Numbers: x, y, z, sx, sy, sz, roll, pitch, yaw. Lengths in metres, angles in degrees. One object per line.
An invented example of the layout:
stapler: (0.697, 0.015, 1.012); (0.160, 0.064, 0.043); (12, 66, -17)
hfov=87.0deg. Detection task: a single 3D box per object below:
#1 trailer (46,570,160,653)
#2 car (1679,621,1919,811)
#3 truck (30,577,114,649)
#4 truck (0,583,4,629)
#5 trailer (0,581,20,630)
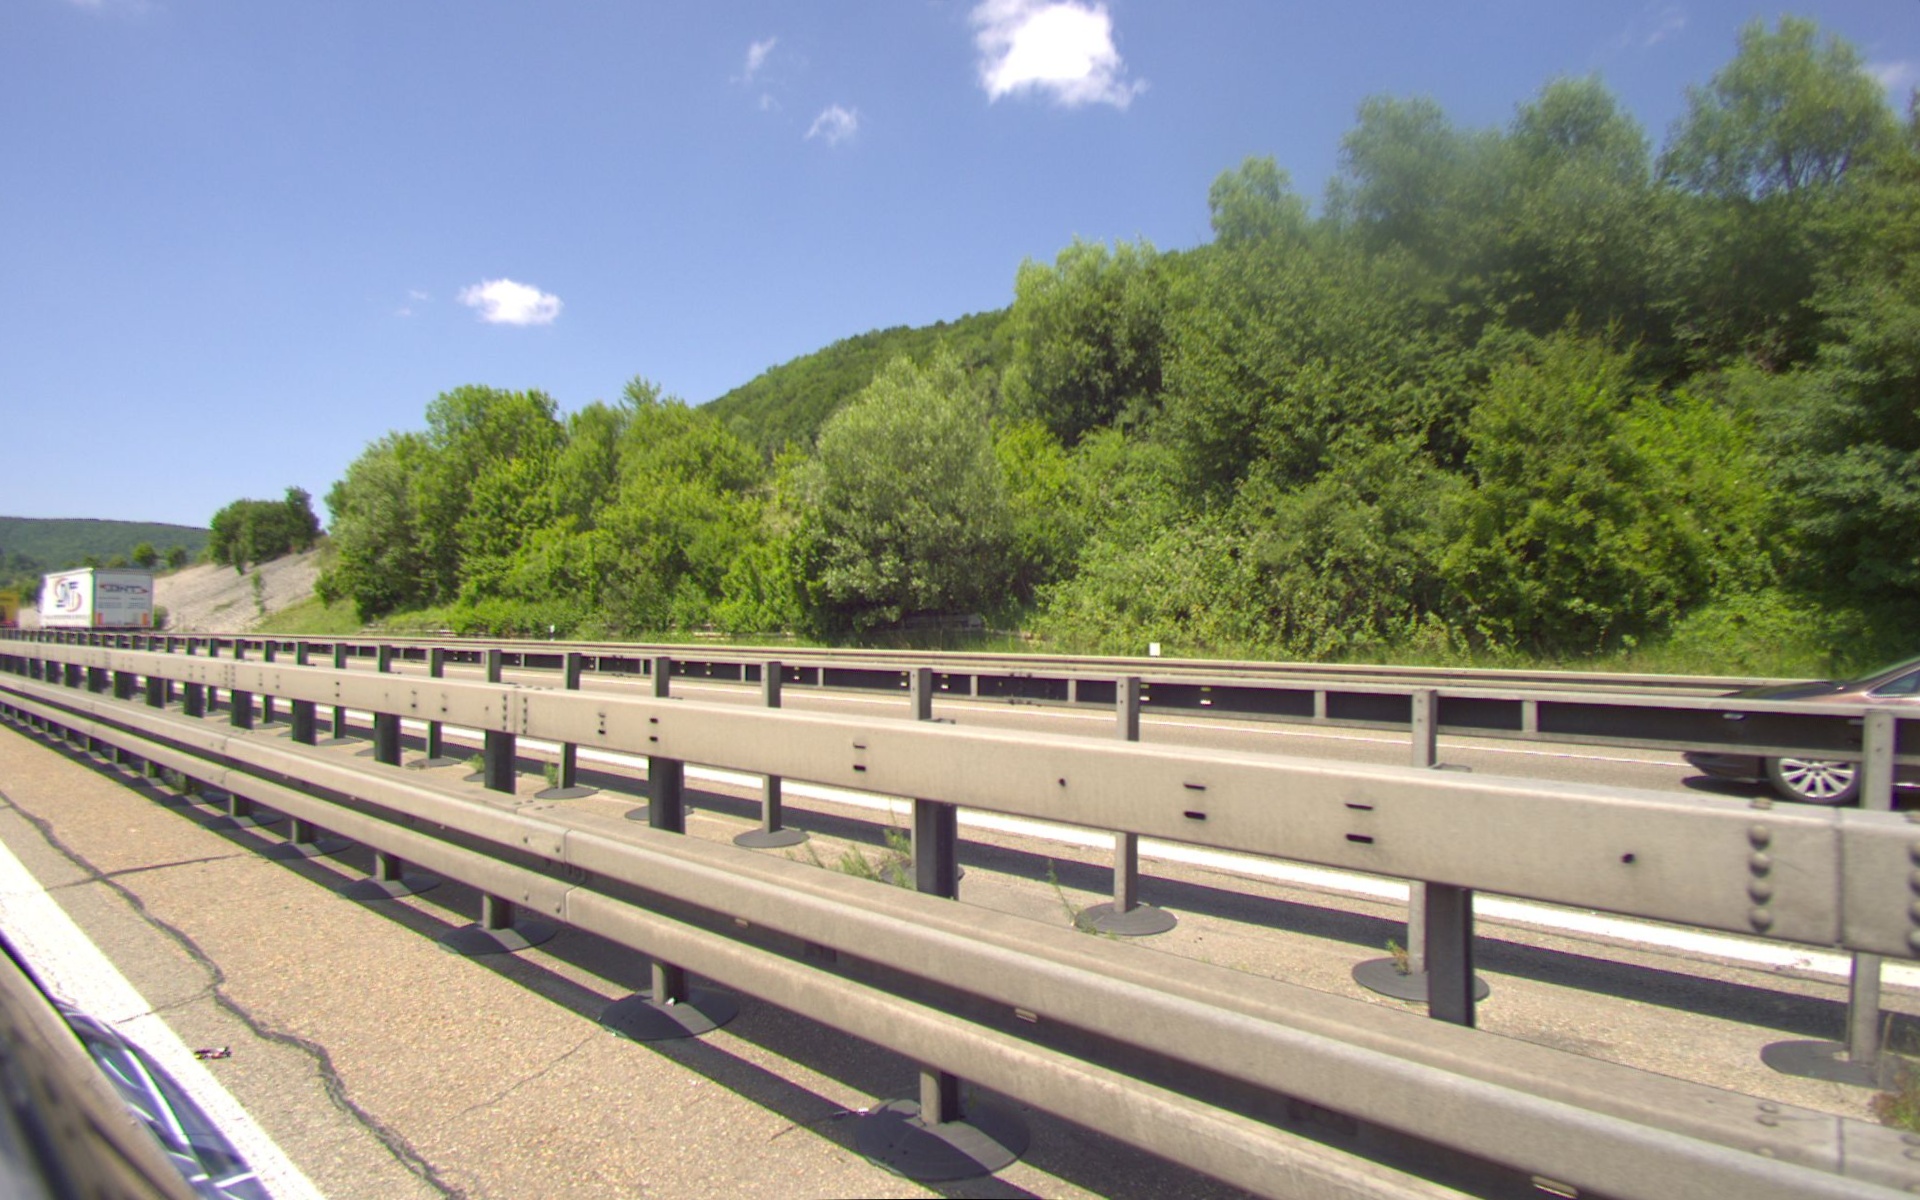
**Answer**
trailer: (-46.953, 0.689, 55.292); (11.254, 4.107, 2.827); (-1, -2, 40)
car: (8.403, 0.893, 7.867); (4.431, 1.431, 1.850); (-1, -2, 41)
truck: (-53.360, 0.834, 60.772); (5.844, 4.133, 2.879); (-1, -3, 41)
truck: (-92.679, 0.634, 95.364); (9.609, 4.178, 2.798); (-1, -1, 41)
trailer: (-85.168, 0.513, 88.826); (10.399, 4.178, 2.798); (-1, -1, 41)
